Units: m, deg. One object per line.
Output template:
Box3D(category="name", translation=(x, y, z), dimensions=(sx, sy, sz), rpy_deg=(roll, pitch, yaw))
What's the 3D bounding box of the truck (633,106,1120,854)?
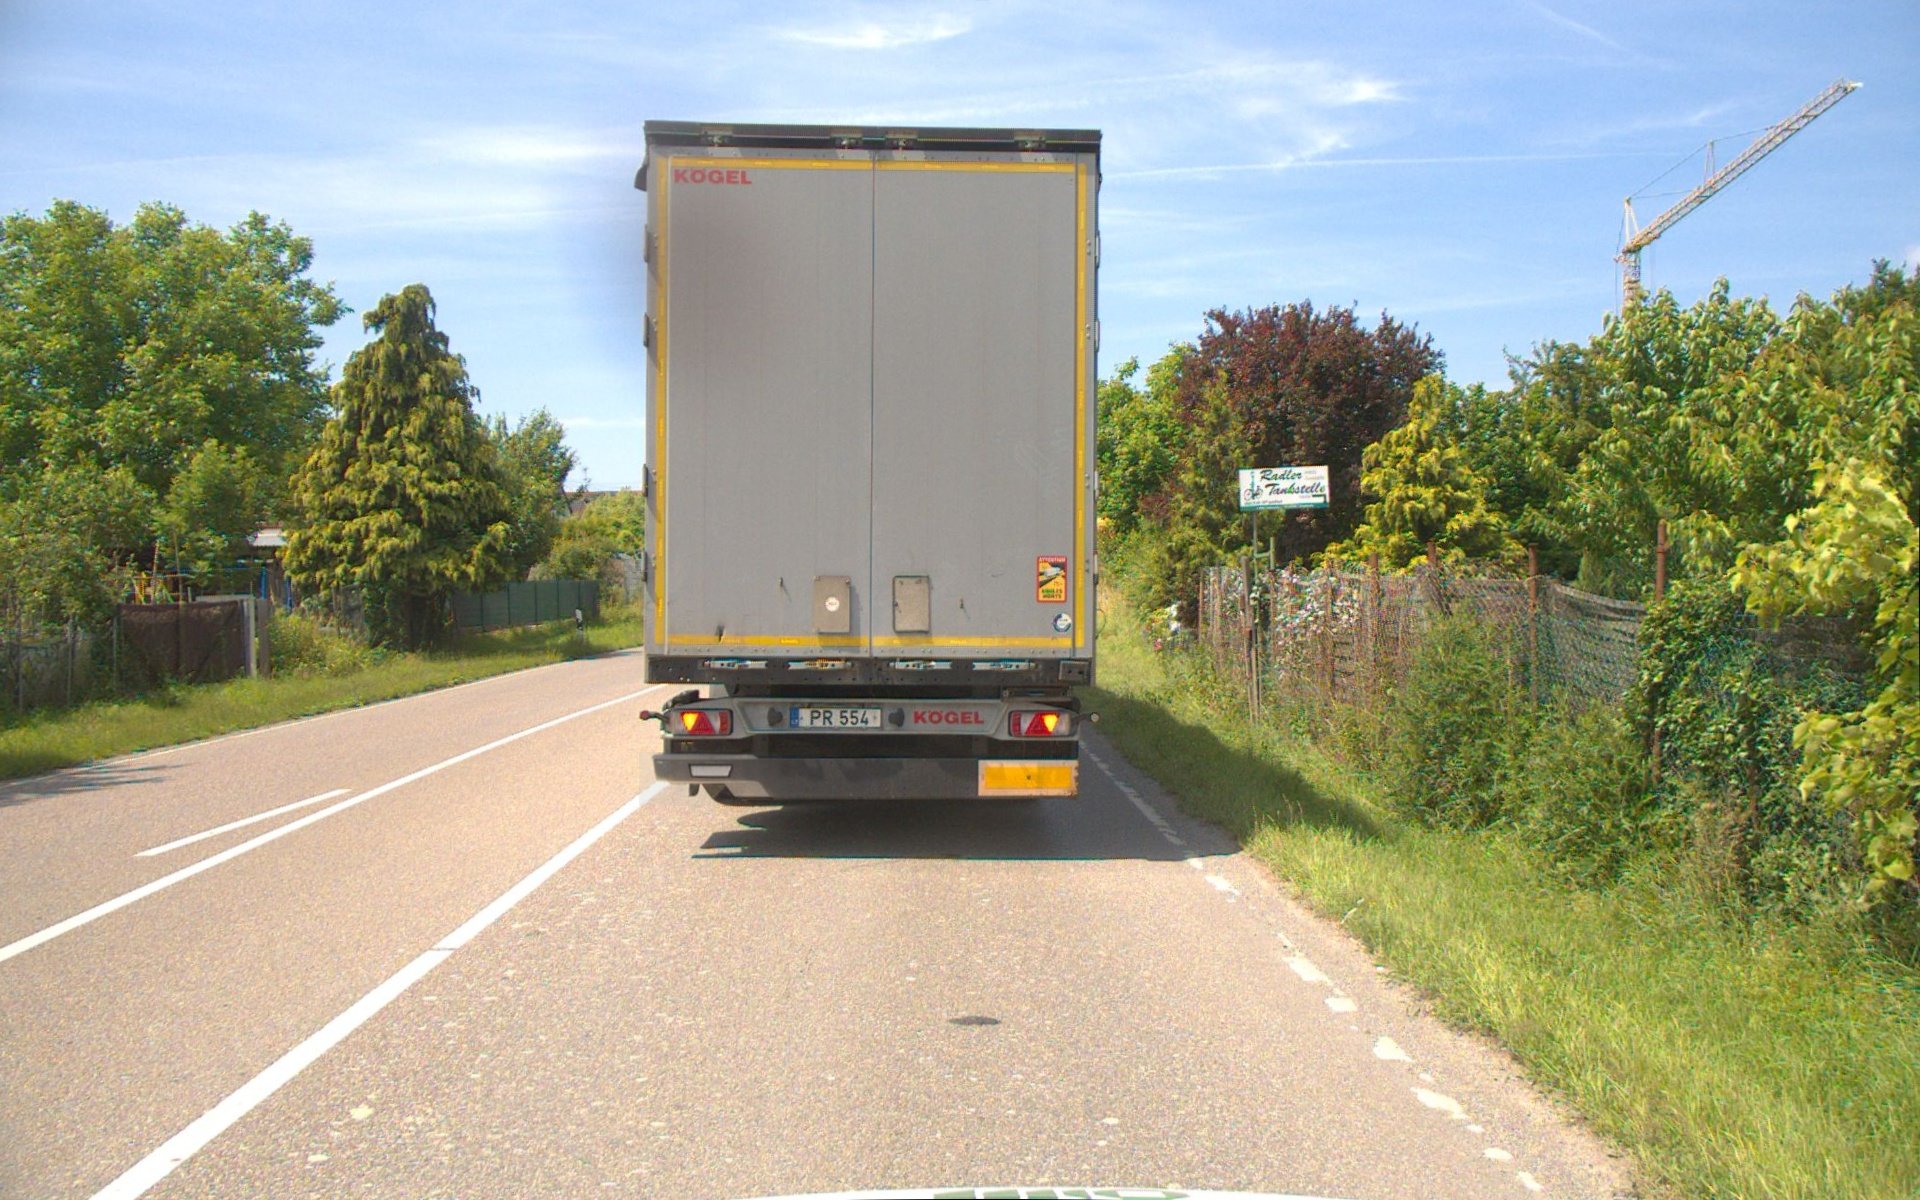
Box3D(category="truck", translation=(-0.654, -0.668, 13.294), dimensions=(2.594, 3.985, 8.820), rpy_deg=(0, 0, -3))
